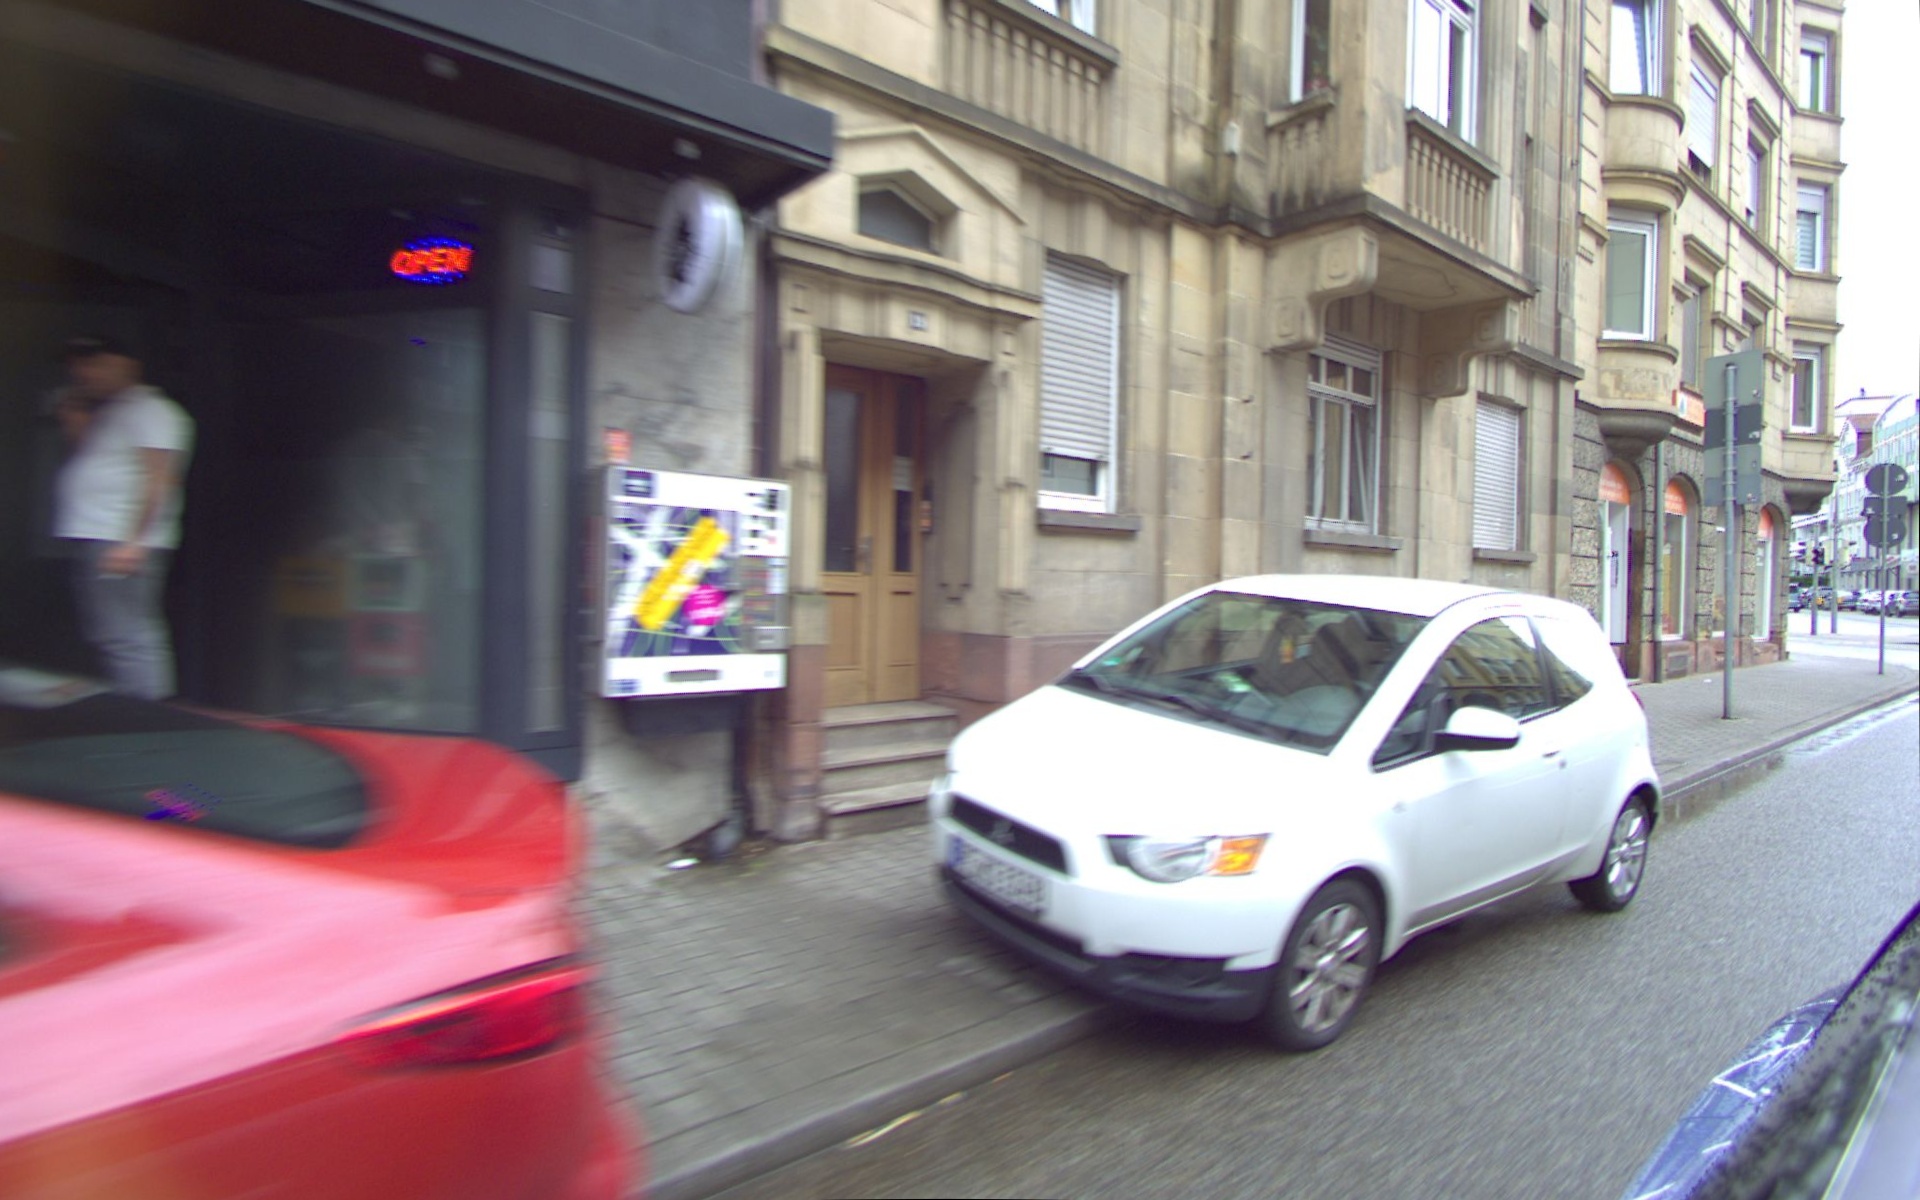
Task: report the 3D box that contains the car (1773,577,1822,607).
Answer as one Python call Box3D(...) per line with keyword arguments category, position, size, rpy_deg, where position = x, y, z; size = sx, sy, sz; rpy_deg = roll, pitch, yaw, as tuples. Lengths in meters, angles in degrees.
Box3D(category="car", position=(58.012, -0.588, 70.177), size=(1.984, 1.938, 3.957), rpy_deg=(2, 2, 31))

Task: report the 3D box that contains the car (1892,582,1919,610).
Box3D(category="car", position=(54.746, -0.244, 57.392), size=(1.984, 1.526, 3.957), rpy_deg=(2, 2, 31))

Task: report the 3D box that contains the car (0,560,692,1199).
Box3D(category="car", position=(-2.570, 0.631, 0.771), size=(4.239, 1.386, 1.747), rpy_deg=(0, 2, -41))

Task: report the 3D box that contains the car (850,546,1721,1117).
Box3D(category="car", position=(1.790, 0.560, 4.670), size=(4.367, 1.512, 1.652), rpy_deg=(-1, 2, -38))

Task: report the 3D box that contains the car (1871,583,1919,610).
Box3D(category="car", position=(57.365, -0.208, 60.446), size=(3.966, 1.526, 1.980), rpy_deg=(2, 2, 30))

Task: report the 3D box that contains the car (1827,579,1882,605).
Box3D(category="car", position=(60.710, -0.569, 68.772), size=(1.983, 1.605, 3.957), rpy_deg=(-5, -1, 31))

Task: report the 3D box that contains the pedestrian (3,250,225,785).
Box3D(category="pedestrian", position=(-3.426, -0.308, 4.111), size=(0.638, 1.917, 0.704), rpy_deg=(-1, 2, -42))

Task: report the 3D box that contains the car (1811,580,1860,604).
Box3D(category="car", position=(63.690, -0.590, 73.684), size=(1.984, 1.604, 3.957), rpy_deg=(2, 2, 31))
